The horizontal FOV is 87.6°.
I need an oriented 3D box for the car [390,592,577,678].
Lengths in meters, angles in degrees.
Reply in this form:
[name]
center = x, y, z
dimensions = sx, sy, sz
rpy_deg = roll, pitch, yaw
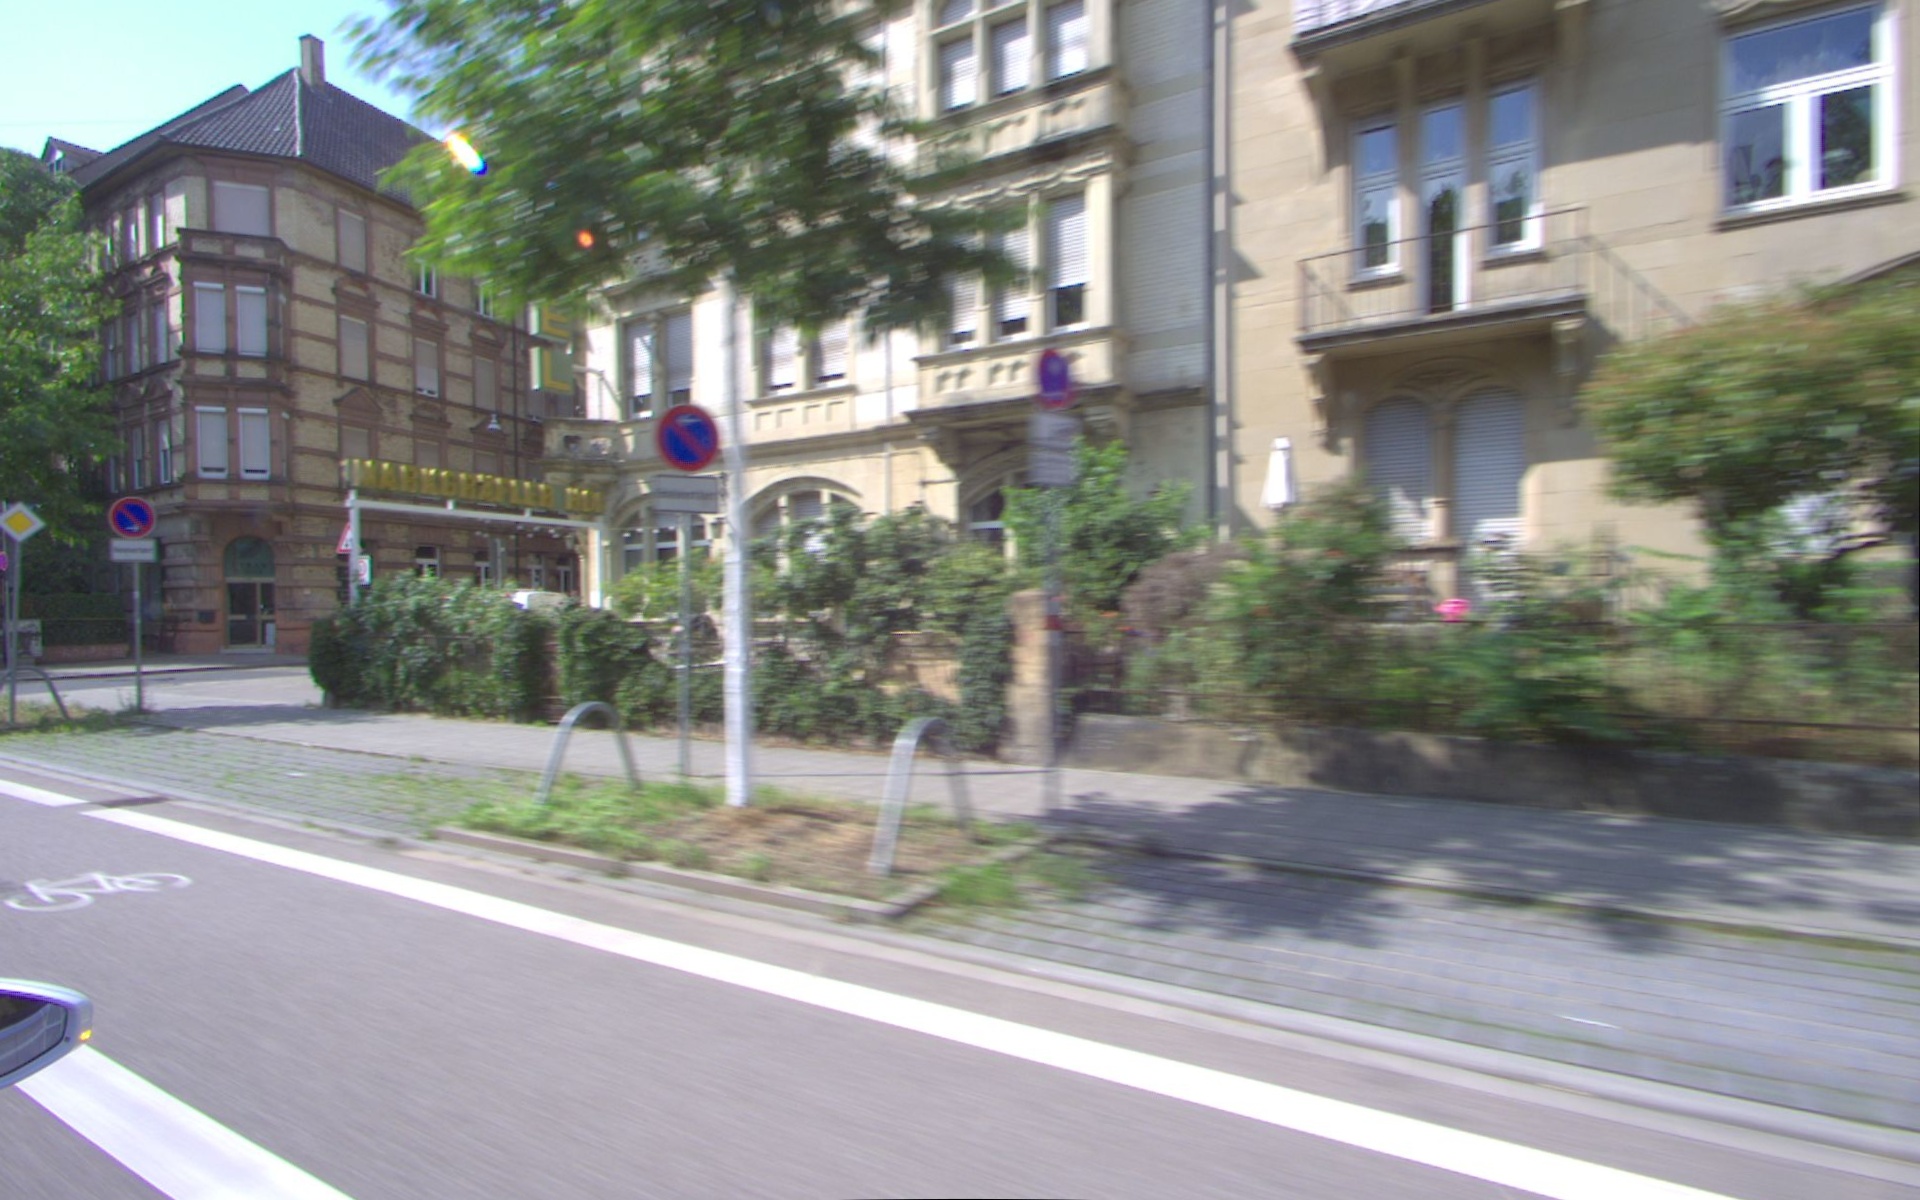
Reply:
[car]
center = -12.685, 0.935, 26.667
dimensions = 4.409, 2.132, 1.995
rpy_deg = -2, -1, 22
